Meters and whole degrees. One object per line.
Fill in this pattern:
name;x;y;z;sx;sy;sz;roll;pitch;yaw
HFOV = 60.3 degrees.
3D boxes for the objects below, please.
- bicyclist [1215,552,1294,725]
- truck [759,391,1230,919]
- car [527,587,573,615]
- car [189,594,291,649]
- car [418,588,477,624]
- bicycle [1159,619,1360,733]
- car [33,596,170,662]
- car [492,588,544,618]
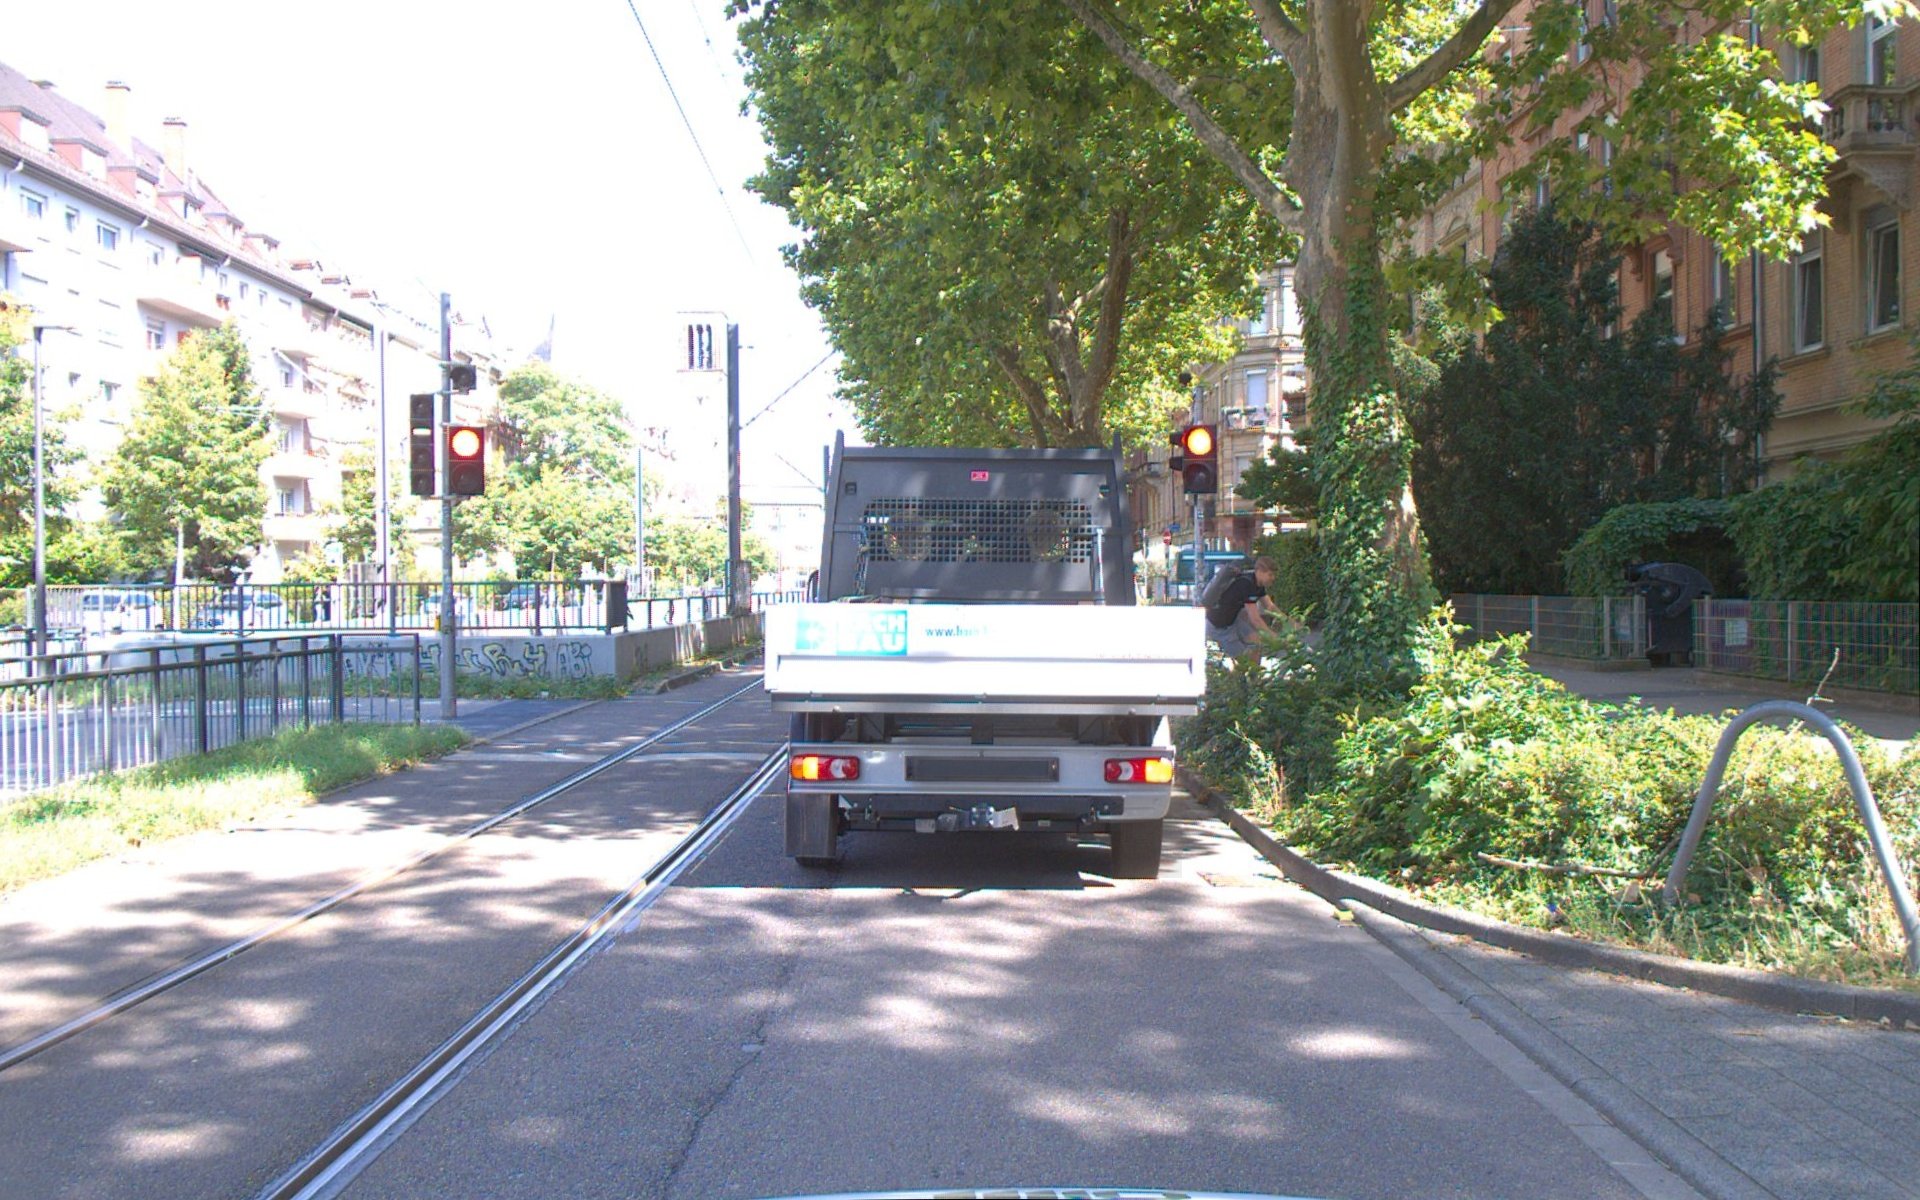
bicyclist;2.866;0.368;16.151;0.678;1.651;0.625;-1;0;4
truck;0.161;0.230;9.730;2.094;2.359;4.401;1;1;0
car;-23.275;0.058;93.954;1.735;1.524;3.998;-1;1;-2
car;-22.191;0.635;51.131;1.737;1.524;3.994;-2;1;-6
car;-22.504;0.249;72.766;1.737;1.524;3.994;-1;1;-7
bicycle;2.906;0.736;16.153;1.879;1.067;0.533;-1;0;3
car;-22.001;0.712;42.554;1.737;1.524;3.994;-2;1;-6
car;-22.986;0.129;86.122;1.735;1.524;3.998;-1;1;-2
